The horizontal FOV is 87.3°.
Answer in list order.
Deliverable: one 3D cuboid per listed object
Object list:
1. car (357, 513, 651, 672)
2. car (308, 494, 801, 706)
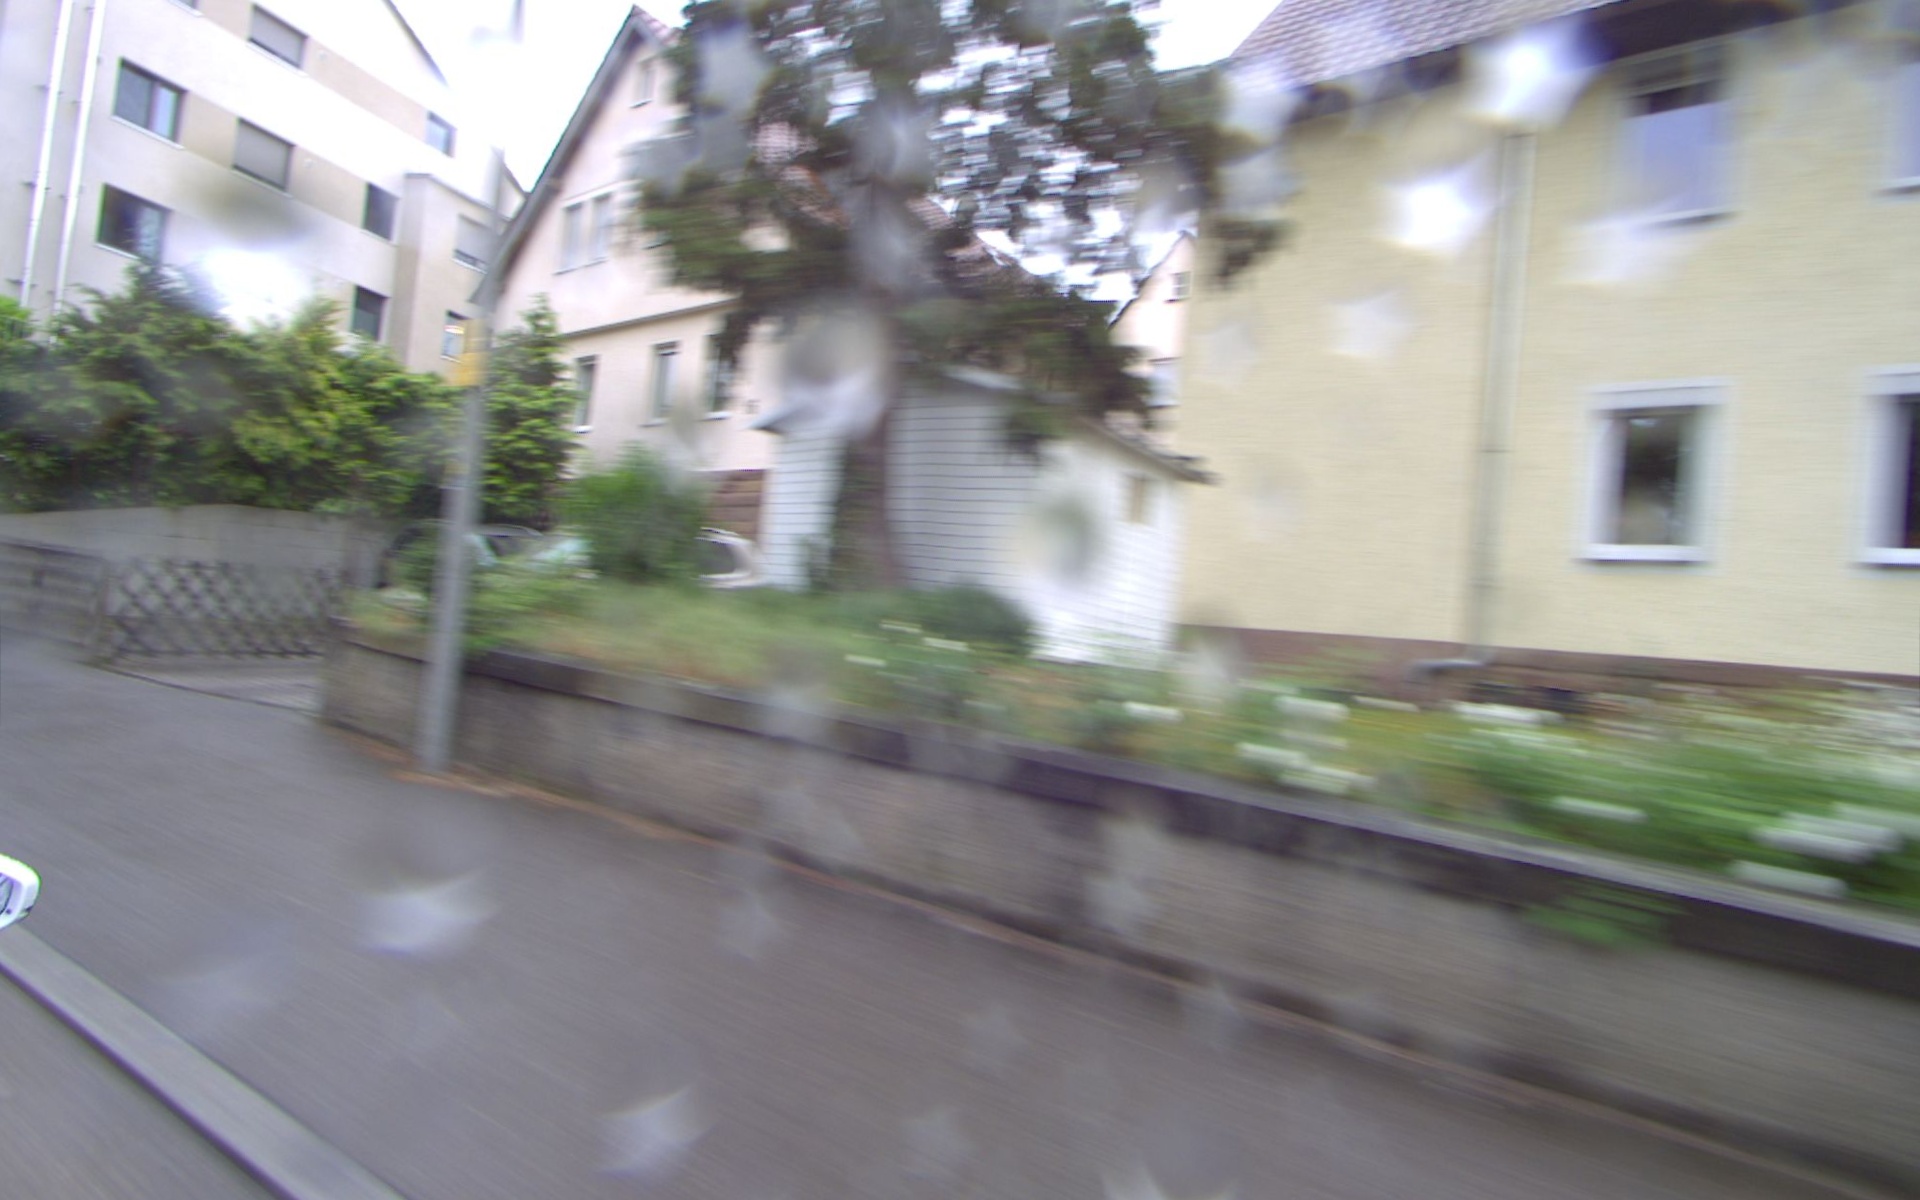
[{"bbox_3d":[-6.335,-0.140,13.801,4.085,1.673,1.894,7,-1,38],"label":"car"},{"bbox_3d":[-4.004,0.115,10.600,1.934,1.673,4.316,7,-1,38],"label":"car"}]
